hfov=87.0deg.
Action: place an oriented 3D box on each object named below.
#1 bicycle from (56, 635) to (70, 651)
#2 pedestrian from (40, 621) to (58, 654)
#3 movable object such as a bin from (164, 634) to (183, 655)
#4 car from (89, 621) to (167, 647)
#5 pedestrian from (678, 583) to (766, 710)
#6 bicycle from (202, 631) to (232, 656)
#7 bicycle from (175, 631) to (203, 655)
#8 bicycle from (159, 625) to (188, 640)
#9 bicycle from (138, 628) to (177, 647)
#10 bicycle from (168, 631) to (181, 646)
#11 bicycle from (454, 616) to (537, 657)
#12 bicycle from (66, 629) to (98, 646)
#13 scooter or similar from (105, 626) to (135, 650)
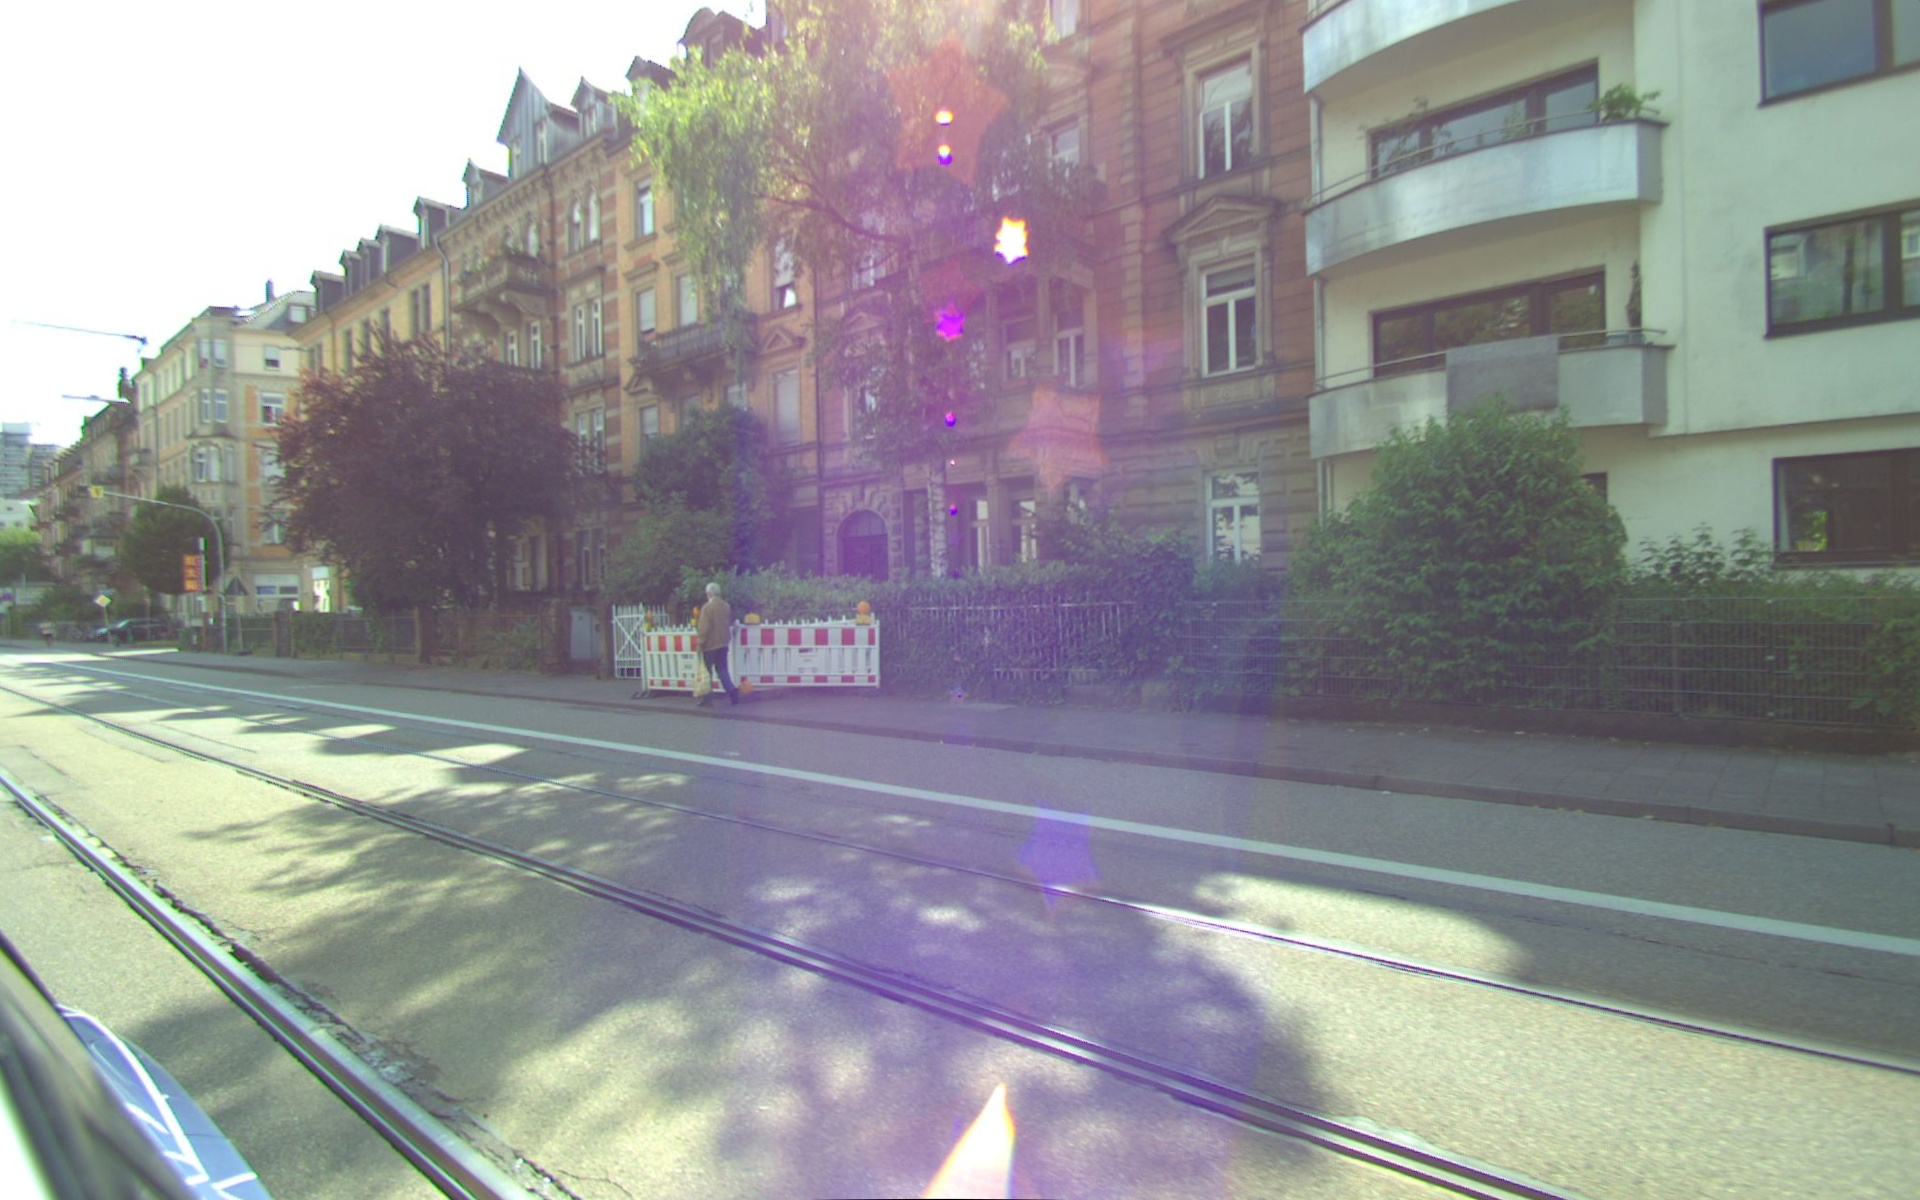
[{"bbox_3d":[-56.630,2.689,63.900,1.948,0.984,0.417,-2,0,41],"label":"bicycle"},{"bbox_3d":[-50.619,2.081,56.255,1.105,1.773,0.528,-2,2,41],"label":"pedestrian"},{"bbox_3d":[-35.009,1.963,45.057,0.635,0.912,0.520,-2,-1,40],"label":"movable object such as a bin"},{"bbox_3d":[-51.587,2.079,62.784,1.788,1.413,3.562,-2,0,45],"label":"car"},{"bbox_3d":[-3.375,0.635,14.366,0.890,1.719,0.815,-1,0,38],"label":"pedestrian"},{"bbox_3d":[-29.031,1.682,39.551,1.967,0.954,0.524,-2,-1,41],"label":"bicycle"},{"bbox_3d":[-31.922,1.779,41.904,1.967,0.954,0.524,-2,-1,41],"label":"bicycle"},{"bbox_3d":[-51.382,2.125,66.152,0.404,0.984,1.438,-2,-1,41],"label":"bicycle"},{"bbox_3d":[-48.047,2.218,60.588,0.523,1.071,1.738,-3,-1,35],"label":"bicycle"},{"bbox_3d":[-45.905,2.223,59.167,0.516,0.844,1.702,-1,-1,-36],"label":"bicycle"},{"bbox_3d":[-12.669,0.989,27.657,0.465,1.027,2.188,-2,0,30],"label":"bicycle"},{"bbox_3d":[-54.067,2.320,62.341,0.404,0.984,1.438,-2,-1,41],"label":"bicycle"},{"bbox_3d":[-47.432,2.139,57.157,0.400,1.244,1.360,-2,1,12],"label":"scooter or similar"}]
